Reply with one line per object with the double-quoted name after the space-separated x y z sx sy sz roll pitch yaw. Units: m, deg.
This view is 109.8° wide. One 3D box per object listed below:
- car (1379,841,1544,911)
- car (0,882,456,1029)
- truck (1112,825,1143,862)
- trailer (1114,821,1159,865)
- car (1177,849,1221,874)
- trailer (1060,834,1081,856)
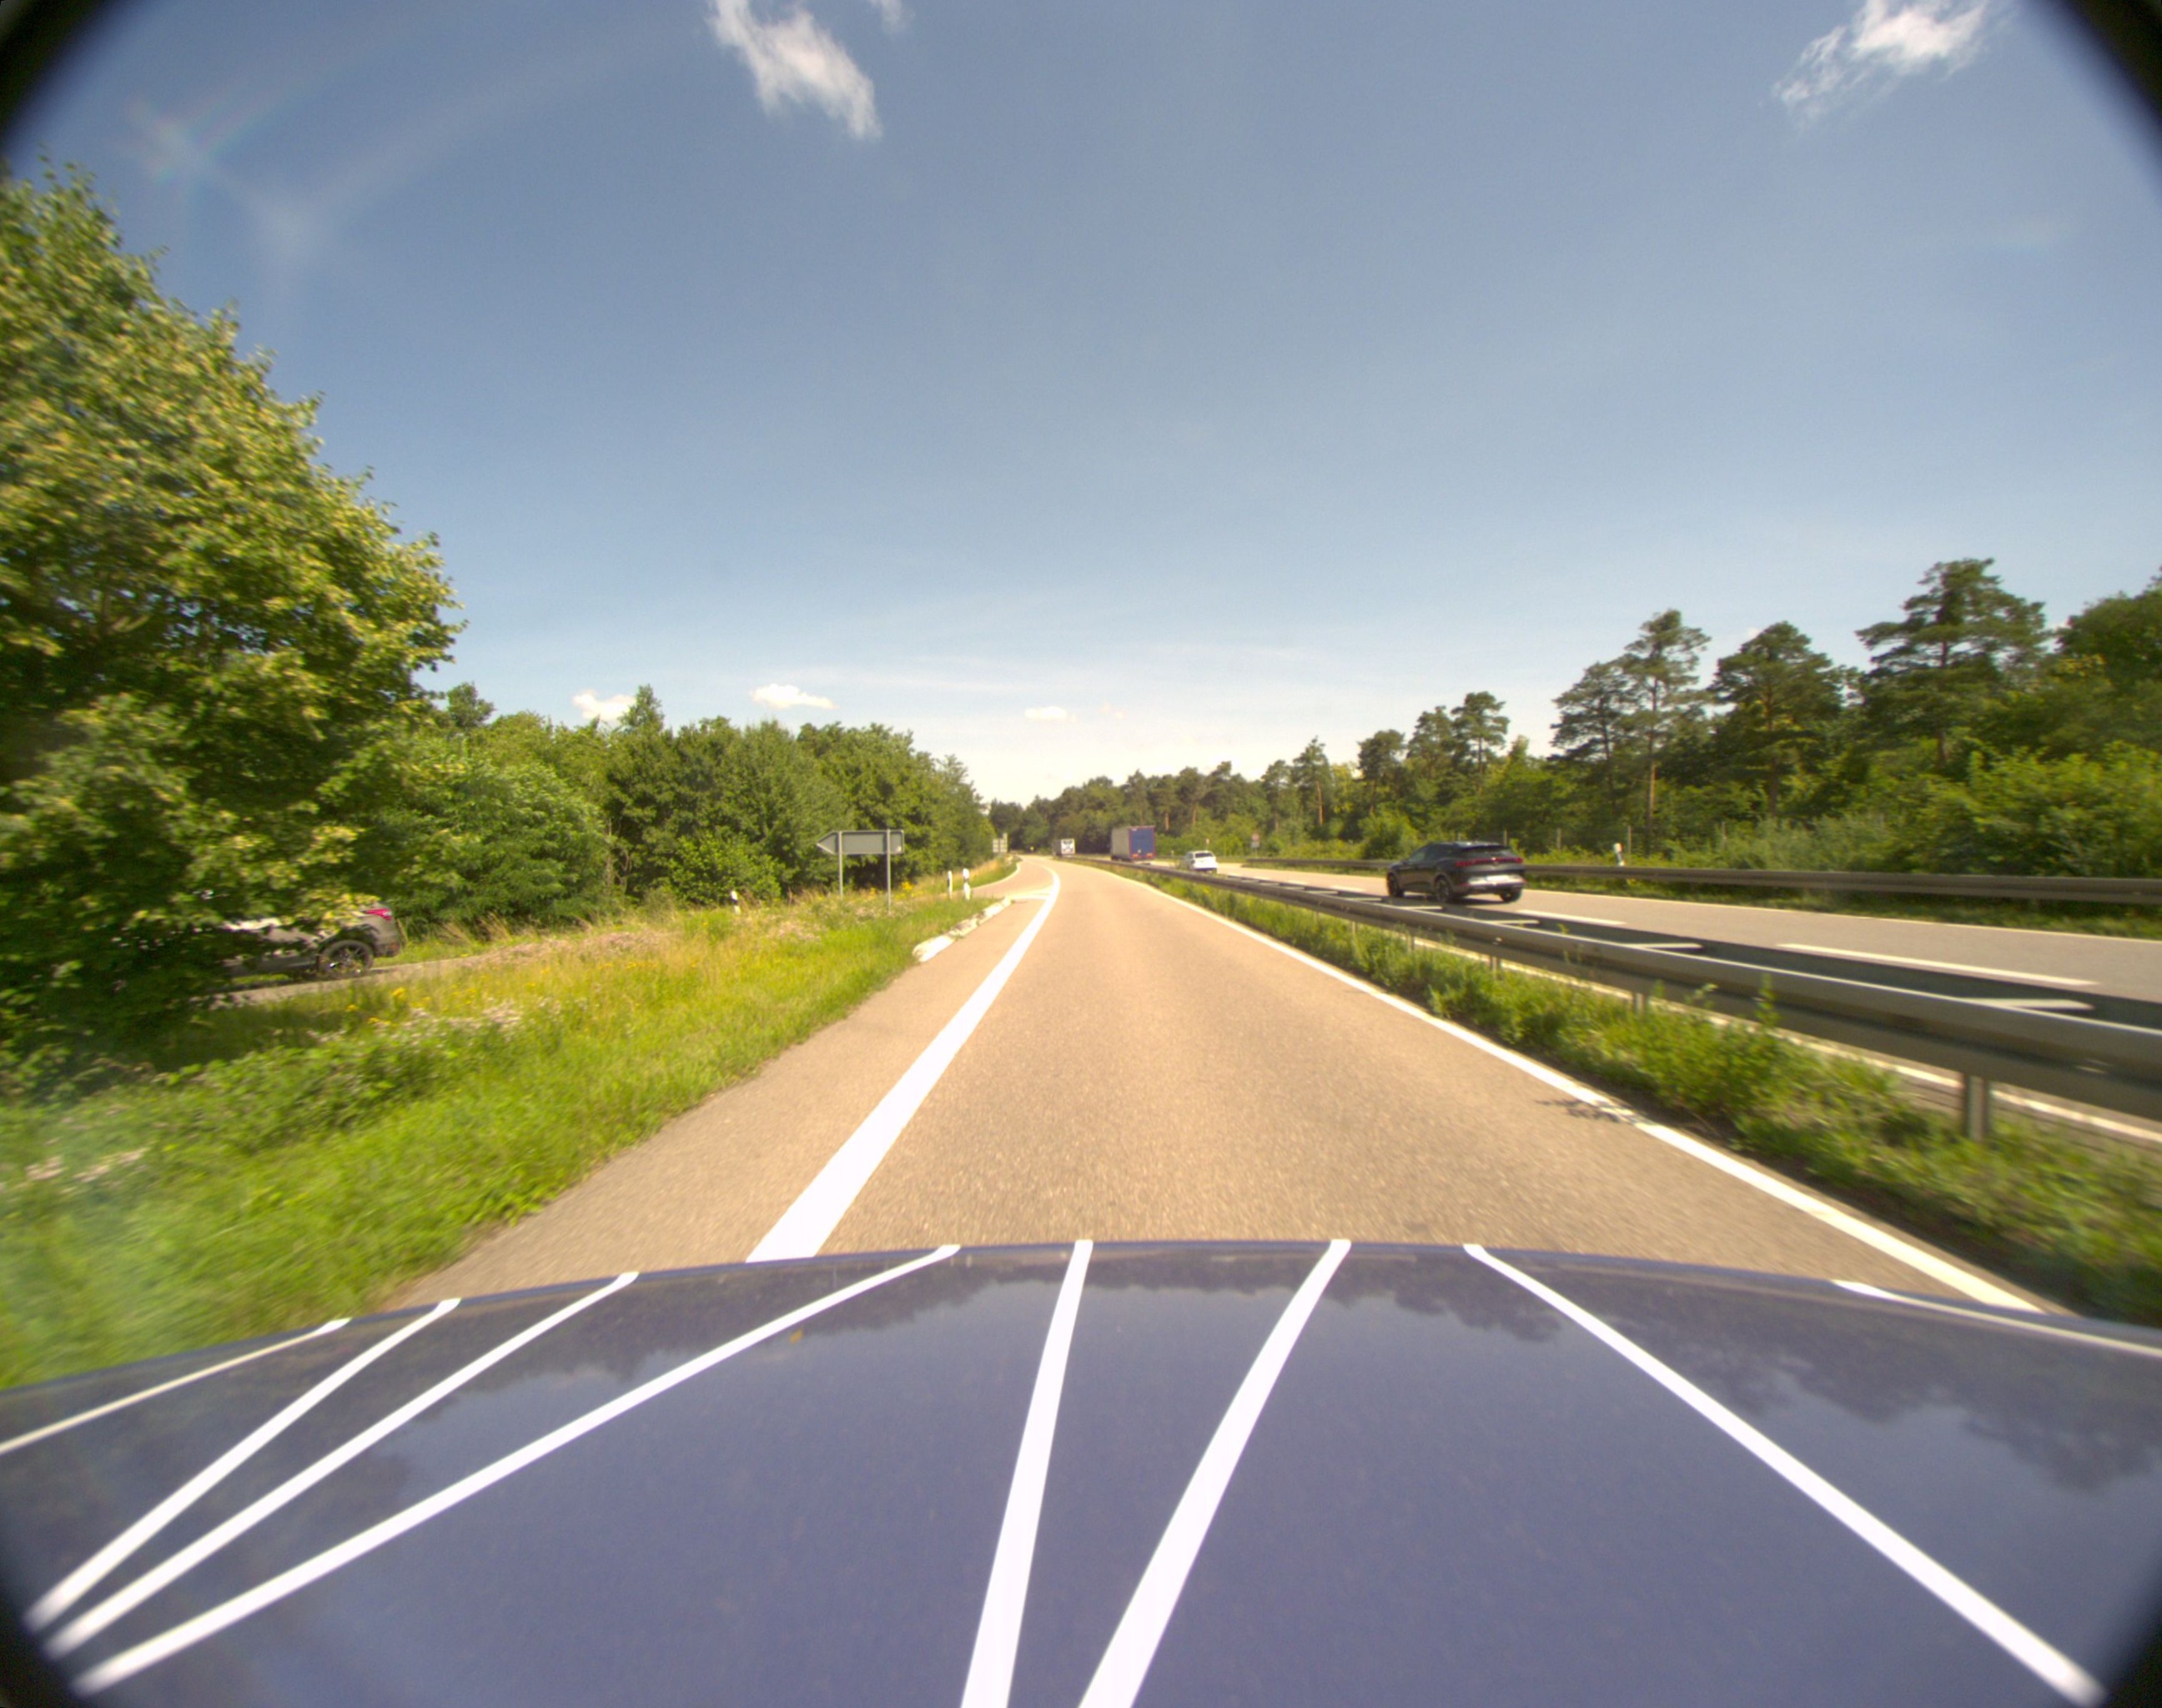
9.386 0.481 19.224 1.760 1.492 4.573 -3 0 -1 "car"
-13.766 1.503 12.695 1.896 1.656 4.673 -4 0 27 "car"
5.403 -1.215 88.767 2.775 4.163 5.595 -3 1 -3 "truck"
5.781 -1.146 81.658 2.753 4.148 14.576 -3 1 -3 "trailer"
7.447 0.450 48.463 1.799 1.436 4.605 -2 0 -3 "car"
-2.319 -1.714 155.509 2.676 4.164 14.053 -3 1 -7 "trailer"
